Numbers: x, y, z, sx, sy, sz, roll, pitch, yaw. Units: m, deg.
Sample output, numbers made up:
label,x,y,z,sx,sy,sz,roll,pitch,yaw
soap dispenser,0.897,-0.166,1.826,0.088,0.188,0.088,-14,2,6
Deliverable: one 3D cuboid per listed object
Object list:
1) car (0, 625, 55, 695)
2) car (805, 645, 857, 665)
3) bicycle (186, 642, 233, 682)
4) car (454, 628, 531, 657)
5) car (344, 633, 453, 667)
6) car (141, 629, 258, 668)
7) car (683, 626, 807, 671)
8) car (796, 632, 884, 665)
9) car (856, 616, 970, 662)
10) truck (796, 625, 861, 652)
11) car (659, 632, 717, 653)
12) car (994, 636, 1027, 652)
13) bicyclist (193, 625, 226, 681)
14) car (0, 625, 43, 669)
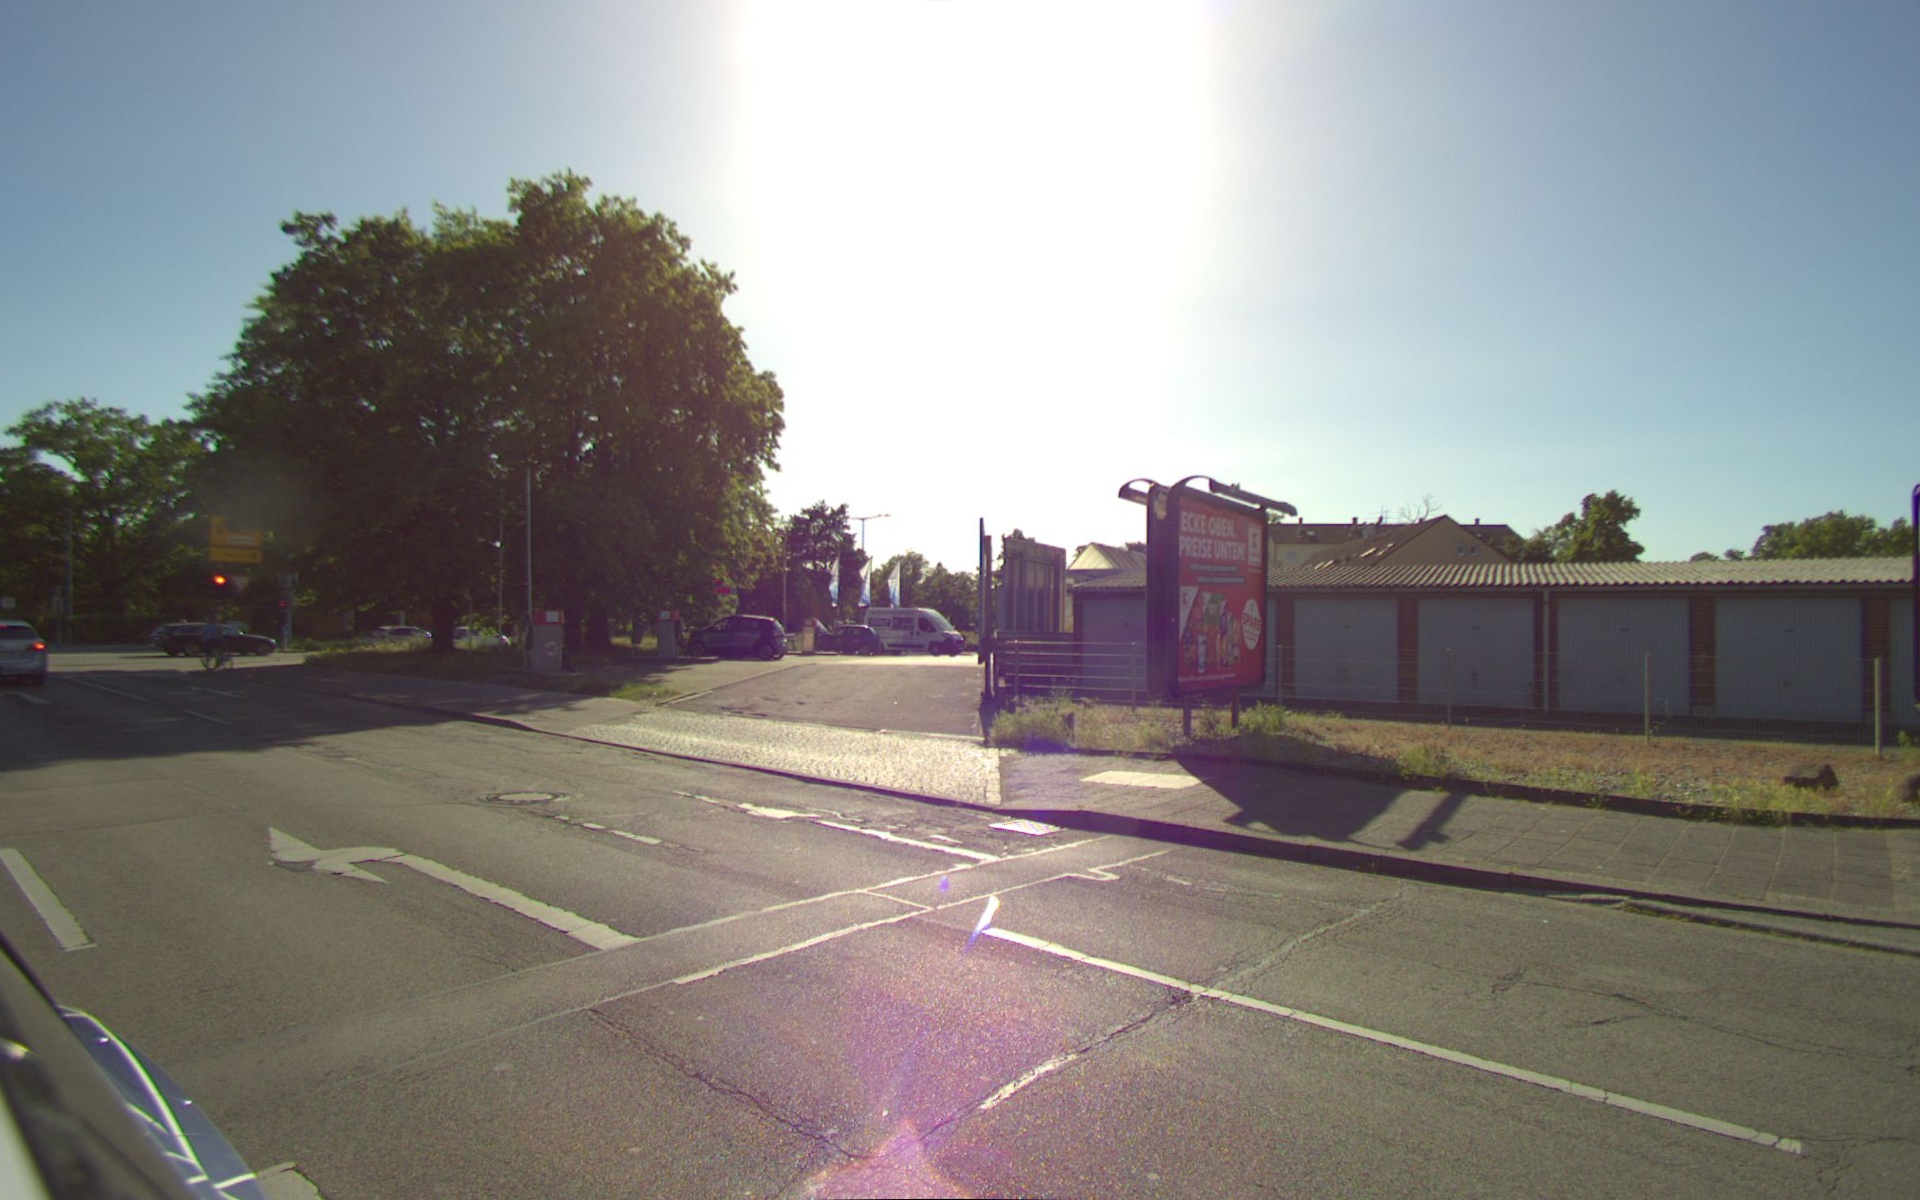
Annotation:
label,x,y,z,sx,sy,sz,roll,pitch,yaw
car,-22.569,1.337,23.386,4.887,1.500,1.817,-1,-3,41
car,-10.620,4.547,83.501,1.915,1.497,4.316,2,-1,32
bicycle,-22.527,1.841,30.382,2.021,1.150,0.522,-1,-2,36
car,-27.483,2.479,59.601,1.685,1.450,3.874,0,1,28
car,-27.832,2.460,50.282,1.913,1.497,4.319,2,-1,30
car,-33.941,2.175,45.304,3.931,1.552,1.629,3,-1,-28
car,-7.600,1.695,35.974,3.951,1.386,1.757,2,-1,6
car,-5.677,2.275,48.087,3.863,1.347,1.568,2,-1,10
car,-2.452,1.993,52.359,5.622,2.115,1.983,2,-1,26
truck,-11.415,3.350,88.303,2.181,2.327,6.709,-1,-2,28
car,-19.526,3.026,72.852,1.685,1.451,4.081,0,-2,28
car,5.509,4.771,110.599,1.820,1.697,4.348,0,-2,29
bicyclist,-22.569,1.582,30.432,0.828,1.654,0.536,-1,-2,35
car,-35.597,1.776,36.133,1.685,1.450,3.874,2,3,28
